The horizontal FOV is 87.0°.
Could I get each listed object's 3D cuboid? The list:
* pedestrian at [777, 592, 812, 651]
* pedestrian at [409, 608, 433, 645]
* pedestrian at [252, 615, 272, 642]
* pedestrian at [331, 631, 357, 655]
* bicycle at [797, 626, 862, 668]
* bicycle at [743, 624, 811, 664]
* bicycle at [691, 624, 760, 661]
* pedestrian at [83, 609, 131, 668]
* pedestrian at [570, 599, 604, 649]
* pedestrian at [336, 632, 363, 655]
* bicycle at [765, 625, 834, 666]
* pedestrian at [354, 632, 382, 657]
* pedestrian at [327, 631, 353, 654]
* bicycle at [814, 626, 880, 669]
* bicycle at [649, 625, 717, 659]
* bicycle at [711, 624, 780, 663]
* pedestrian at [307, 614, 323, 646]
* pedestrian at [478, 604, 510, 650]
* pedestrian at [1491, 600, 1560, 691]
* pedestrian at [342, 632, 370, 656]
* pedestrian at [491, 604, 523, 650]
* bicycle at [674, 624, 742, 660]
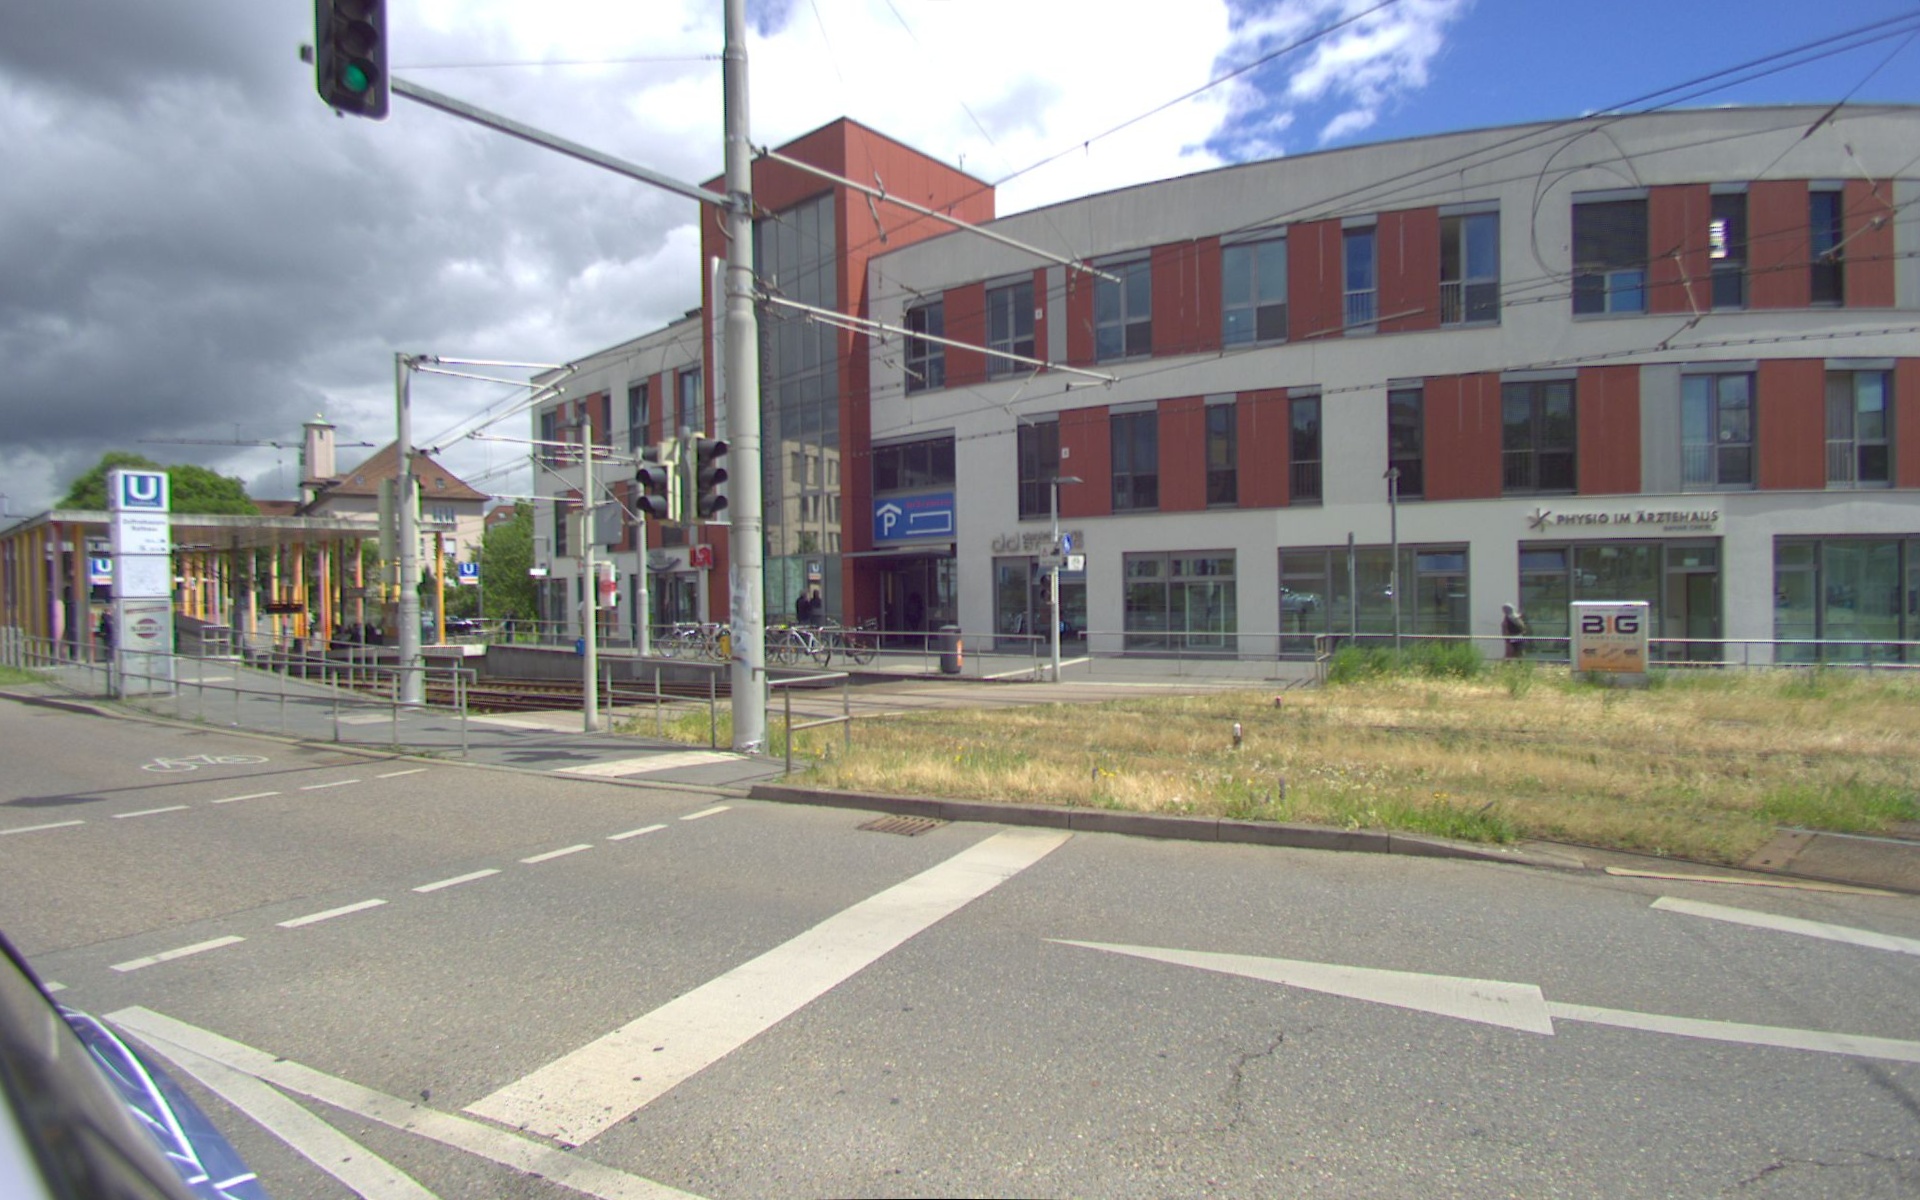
[{"bbox_3d":[-5.314,0.666,32.479,0.856,1.859,0.876,0,1,13],"label":"pedestrian"},{"bbox_3d":[-28.799,1.410,54.079,0.852,1.983,1.107,1,-1,-44],"label":"pedestrian"},{"bbox_3d":[-55.072,2.244,79.831,1.112,2.029,1.180,0,-2,-44],"label":"pedestrian"},{"bbox_3d":[-30.808,2.141,50.617,0.886,1.143,0.931,-2,-1,42],"label":"pedestrian"},{"bbox_3d":[-3.226,1.139,25.072,0.428,0.965,1.716,-1,0,43],"label":"bicycle"},{"bbox_3d":[-4.741,1.128,26.334,0.454,0.970,1.837,-1,0,43],"label":"bicycle"},{"bbox_3d":[-6.371,1.152,27.581,1.835,0.929,0.455,0,0,-42],"label":"bicycle"},{"bbox_3d":[-28.271,1.263,33.534,0.864,1.929,1.090,0,-1,42],"label":"pedestrian"},{"bbox_3d":[-15.130,0.952,41.048,1.106,1.983,0.852,0,-1,43],"label":"pedestrian"},{"bbox_3d":[-30.118,2.137,49.899,0.886,1.143,0.931,-2,-1,42],"label":"pedestrian"},{"bbox_3d":[-4.057,1.139,25.699,0.454,0.942,1.837,-1,0,43],"label":"bicycle"},{"bbox_3d":[-28.552,2.134,48.790,0.886,1.143,0.931,-2,-1,42],"label":"pedestrian"},{"bbox_3d":[-31.330,2.137,51.165,0.886,1.143,0.931,-2,-1,42],"label":"pedestrian"},{"bbox_3d":[-2.739,1.140,24.669,0.428,0.959,1.716,-1,0,43],"label":"bicycle"},{"bbox_3d":[-7.877,1.192,28.828,1.834,0.888,0.455,0,0,-41],"label":"bicycle"},{"bbox_3d":[-5.699,1.139,26.982,1.836,0.946,0.455,0,0,-45],"label":"bicycle"},{"bbox_3d":[-40.296,1.877,63.250,0.773,2.029,0.610,-2,-1,34],"label":"pedestrian"},{"bbox_3d":[-20.070,1.150,43.611,1.105,1.983,0.853,0,-1,39],"label":"pedestrian"},{"bbox_3d":[12.671,1.004,22.707,1.104,1.983,0.862,0,-1,10],"label":"pedestrian"},{"bbox_3d":[-29.401,2.134,49.264,0.886,1.143,0.931,-2,-1,42],"label":"pedestrian"},{"bbox_3d":[-19.723,1.154,44.084,1.105,1.983,0.853,0,-1,39],"label":"pedestrian"},{"bbox_3d":[-6.984,1.156,28.140,1.835,0.939,0.455,0,0,-41],"label":"bicycle"}]
